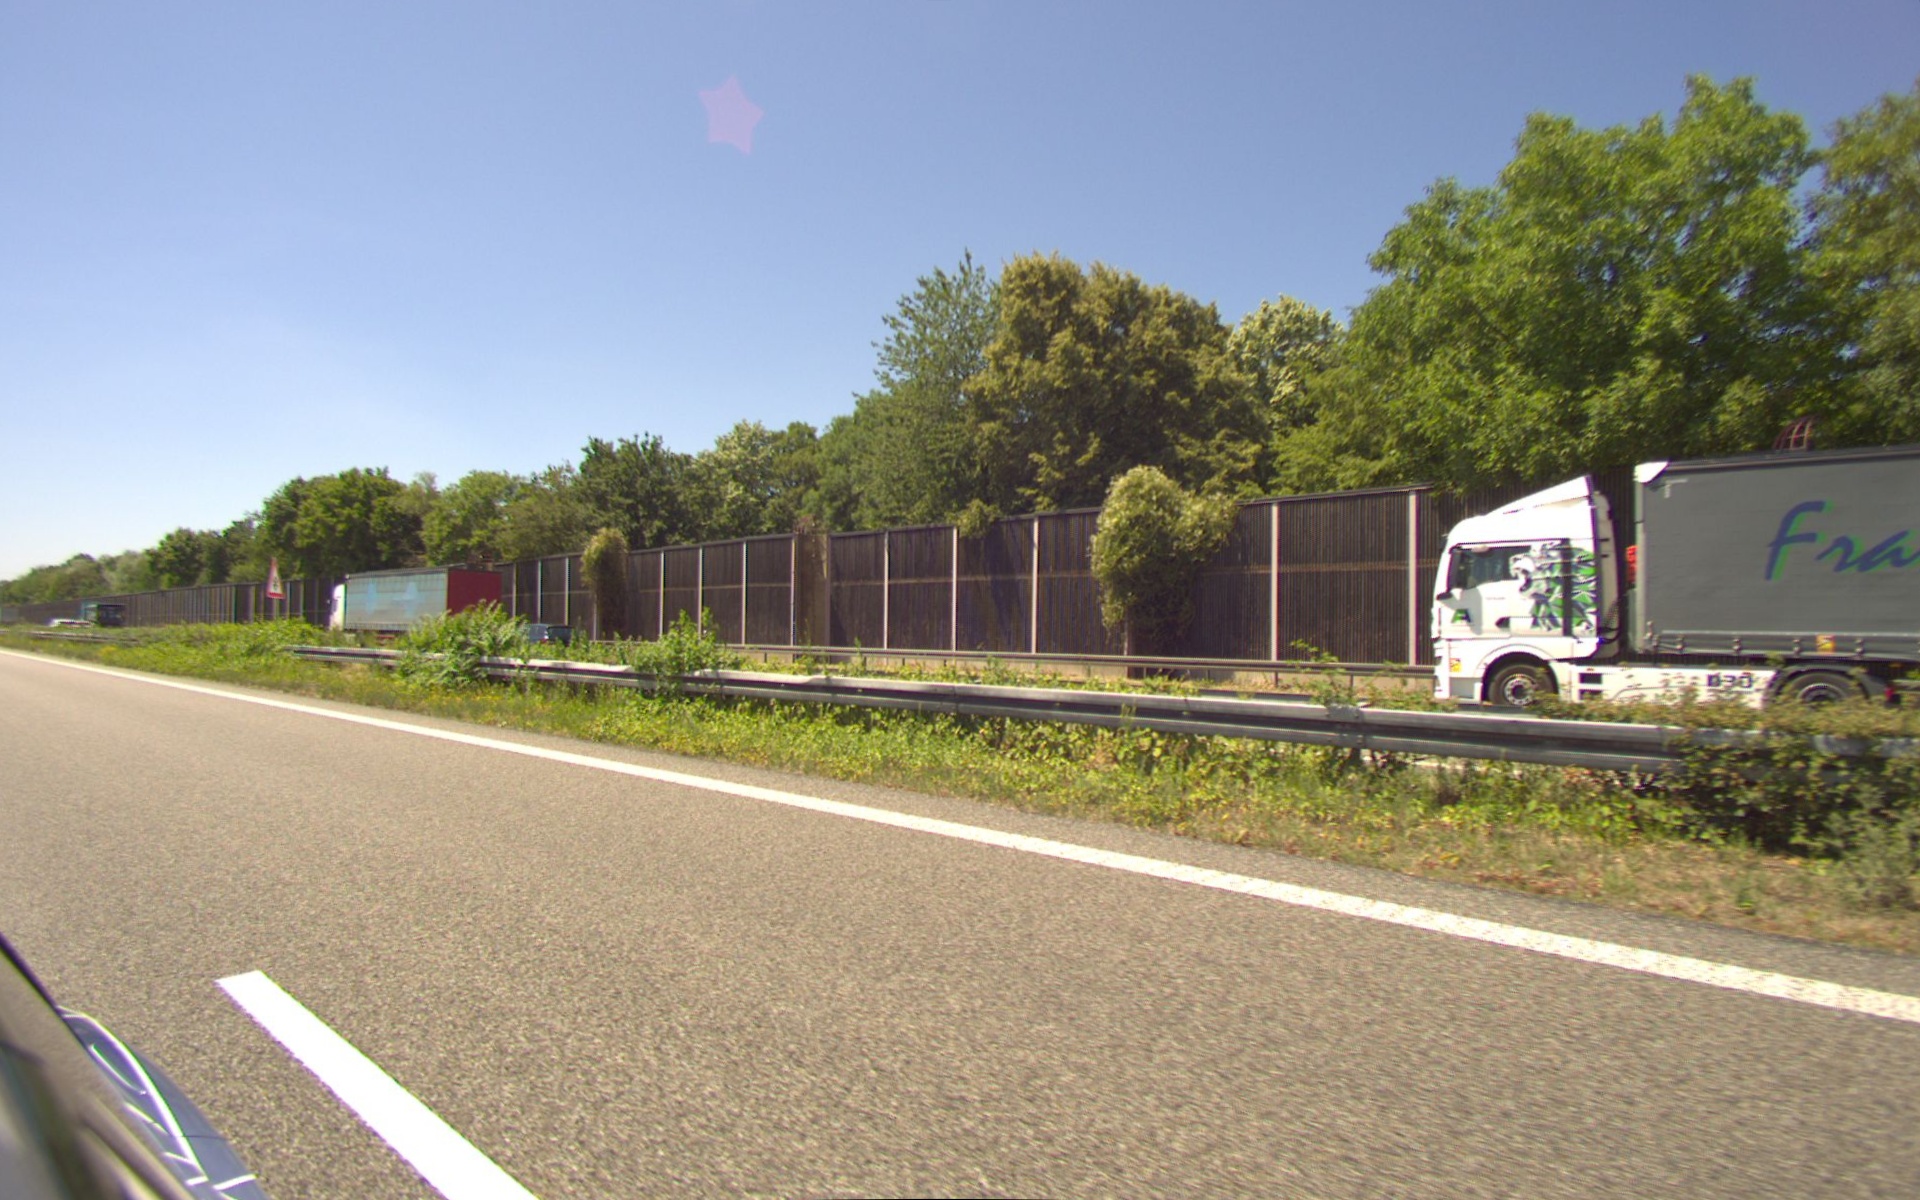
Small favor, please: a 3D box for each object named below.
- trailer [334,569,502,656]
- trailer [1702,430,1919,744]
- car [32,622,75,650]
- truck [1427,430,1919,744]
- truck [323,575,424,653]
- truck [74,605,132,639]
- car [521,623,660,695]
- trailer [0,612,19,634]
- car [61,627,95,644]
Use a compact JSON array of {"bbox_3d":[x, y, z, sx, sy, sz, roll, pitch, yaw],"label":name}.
[{"bbox_3d":[-28.439,0.713,52.564,14.297,4.053,2.706,-1,-2,41],"label":"trailer"},{"bbox_3d":[17.038,-0.200,11.823,13.304,4.215,2.879,-1,-2,41],"label":"trailer"},{"bbox_3d":[-71.060,2.795,79.333,4.893,2.029,1.973,-1,-1,42],"label":"car"},{"bbox_3d":[11.758,-0.105,16.388,7.138,4.215,2.804,-1,-2,41],"label":"truck"},{"bbox_3d":[-32.618,0.801,56.188,6.730,4.053,2.729,-1,-2,41],"label":"truck"},{"bbox_3d":[-97.260,2.515,114.722,12.361,3.703,3.058,-1,-3,41],"label":"truck"},{"bbox_3d":[-11.565,1.774,31.526,4.893,2.029,1.973,-1,-1,42],"label":"car"},{"bbox_3d":[-178.969,4.356,190.323,2.467,4.118,14.279,4,-4,-44],"label":"trailer"},{"bbox_3d":[-86.768,3.471,99.563,4.491,1.602,1.972,-1,-3,42],"label":"car"}]
